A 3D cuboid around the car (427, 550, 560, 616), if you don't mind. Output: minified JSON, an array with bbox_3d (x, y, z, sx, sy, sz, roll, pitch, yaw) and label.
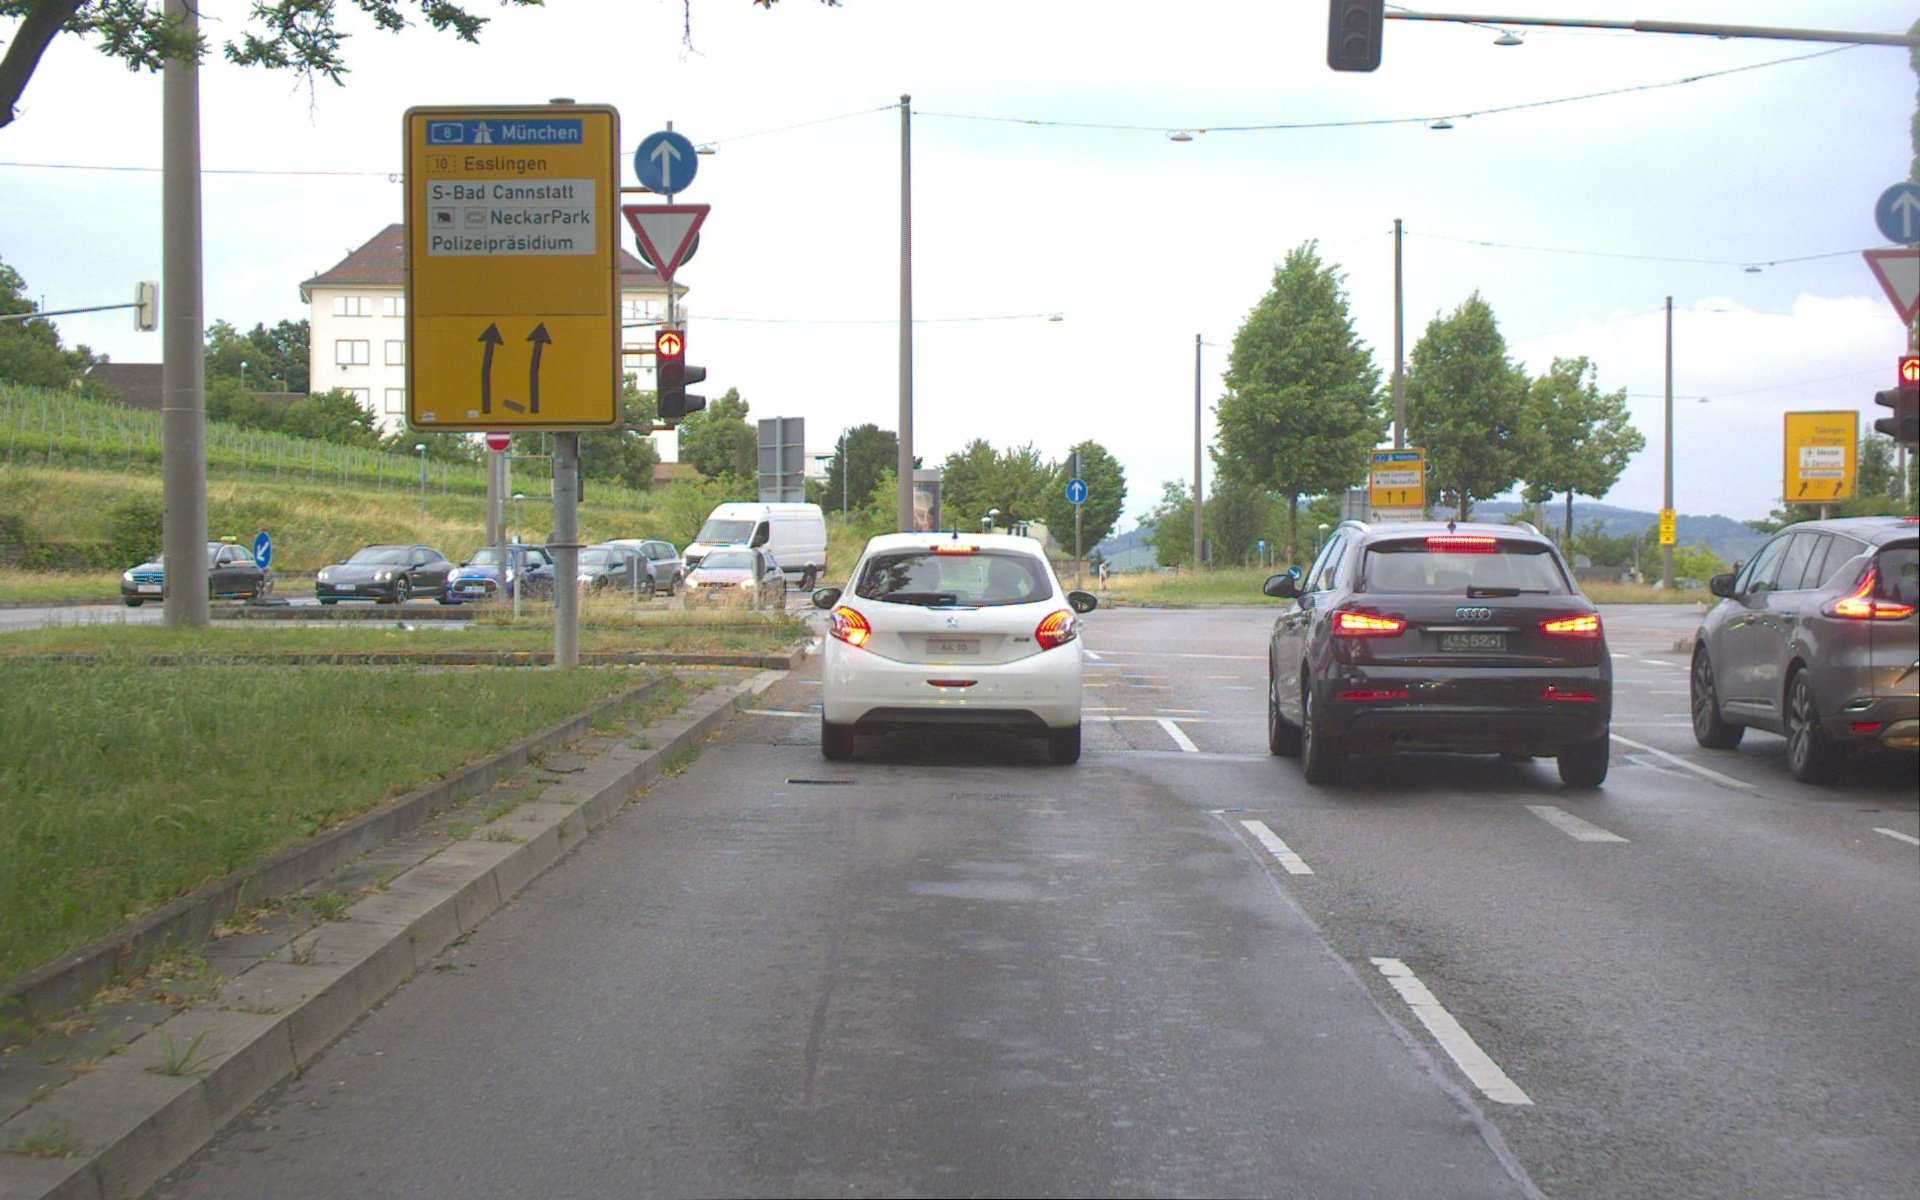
[{"bbox_3d":[-10.499,-0.374,77.619,1.787,1.391,3.880,2,0,11],"label":"car"}]

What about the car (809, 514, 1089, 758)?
[{"bbox_3d":[-0.050,0.202,23.393,1.718,1.484,4.000,1,1,1],"label":"car"}]

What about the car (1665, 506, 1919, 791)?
[{"bbox_3d":[6.085,0.238,22.718,1.865,1.668,4.566,1,2,0],"label":"car"}]

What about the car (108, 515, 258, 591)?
[{"bbox_3d":[-17.658,-1.048,78.325,1.830,1.618,4.565,2,1,7],"label":"car"}]

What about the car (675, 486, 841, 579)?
[{"bbox_3d":[-5.905,-1.960,101.428,1.996,2.550,6.160,2,1,27],"label":"car"}]

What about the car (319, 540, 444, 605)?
[{"bbox_3d":[-13.383,-0.627,79.722,1.787,1.391,3.881,2,0,7],"label":"car"}]

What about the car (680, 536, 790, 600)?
[{"bbox_3d":[-5.096,-0.721,78.405,1.776,1.420,4.373,0,0,6],"label":"car"}]

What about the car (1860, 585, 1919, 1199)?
[{"bbox_3d":[2.602,0.737,4.567,1.741,1.427,3.812,2,1,-1],"label":"car"}]

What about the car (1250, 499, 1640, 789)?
[{"bbox_3d":[2.949,0.234,21.757,1.884,1.590,4.113,2,1,1],"label":"car"}]

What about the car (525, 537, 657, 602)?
[{"bbox_3d":[-8.987,-0.731,84.173,1.902,1.484,4.890,2,1,10],"label":"car"}]
